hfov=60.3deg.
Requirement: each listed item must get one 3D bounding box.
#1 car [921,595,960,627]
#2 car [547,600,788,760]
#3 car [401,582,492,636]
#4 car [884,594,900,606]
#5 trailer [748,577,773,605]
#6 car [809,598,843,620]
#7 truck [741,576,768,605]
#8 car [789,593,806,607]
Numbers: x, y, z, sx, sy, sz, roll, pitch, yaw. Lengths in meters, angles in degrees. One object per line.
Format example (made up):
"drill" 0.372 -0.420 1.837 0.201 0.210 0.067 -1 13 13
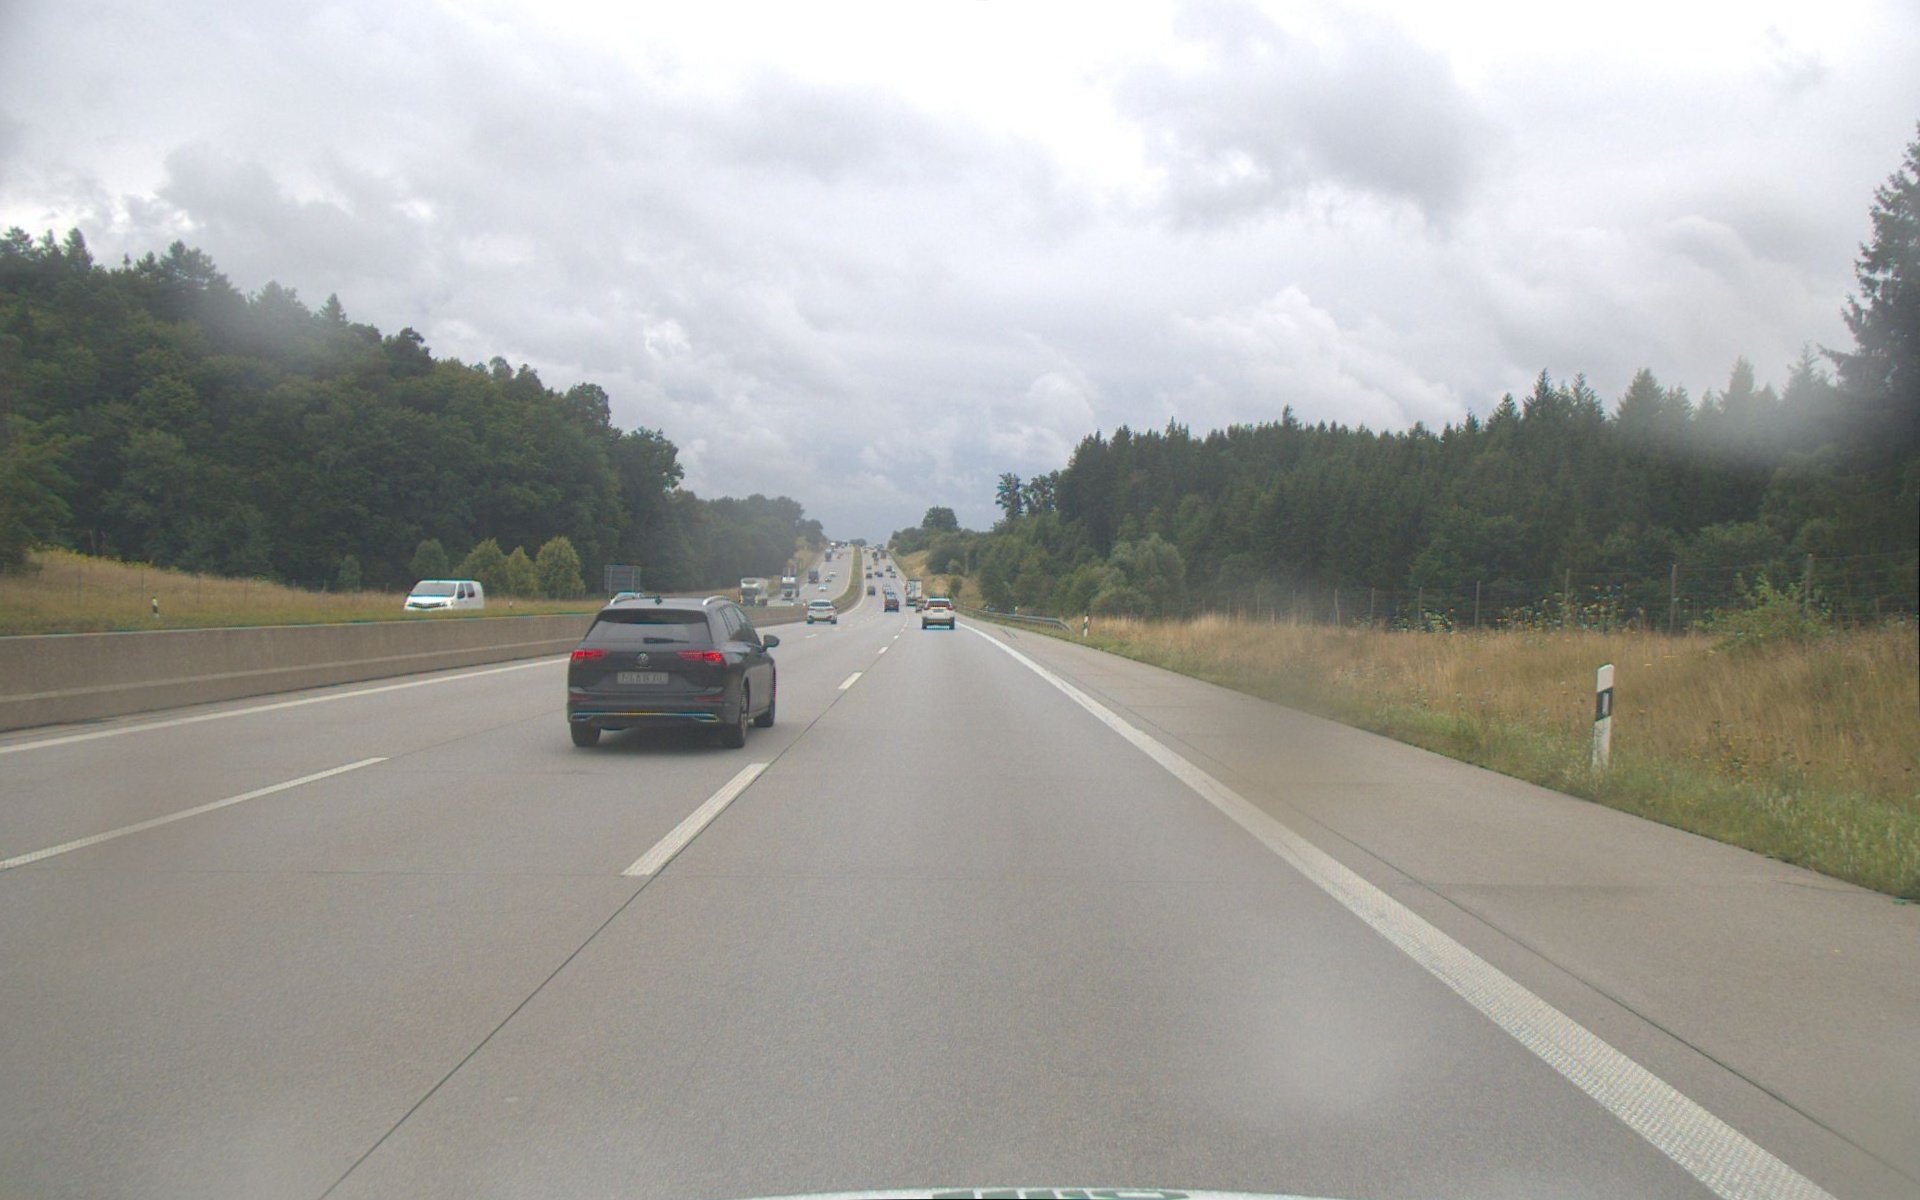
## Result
"car" -1.091 0.593 90.984 1.790 1.684 3.981 2 0 -5
"car" -2.921 0.734 17.429 1.716 1.422 4.484 1 0 0
"car" -19.716 0.316 63.750 1.954 1.990 5.623 1 0 -3
"car" -8.663 0.033 210.656 1.896 1.399 4.592 1 1 -3
"trailer" -28.680 -1.271 238.240 2.762 3.849 7.713 1 0 -2
"car" -8.759 0.586 108.425 1.907 1.379 4.259 1 0 0
"truck" -28.361 -1.265 228.682 2.756 3.839 11.346 1 0 -2
"car" -19.844 -0.012 201.848 1.847 1.615 3.998 -3 0 -3
